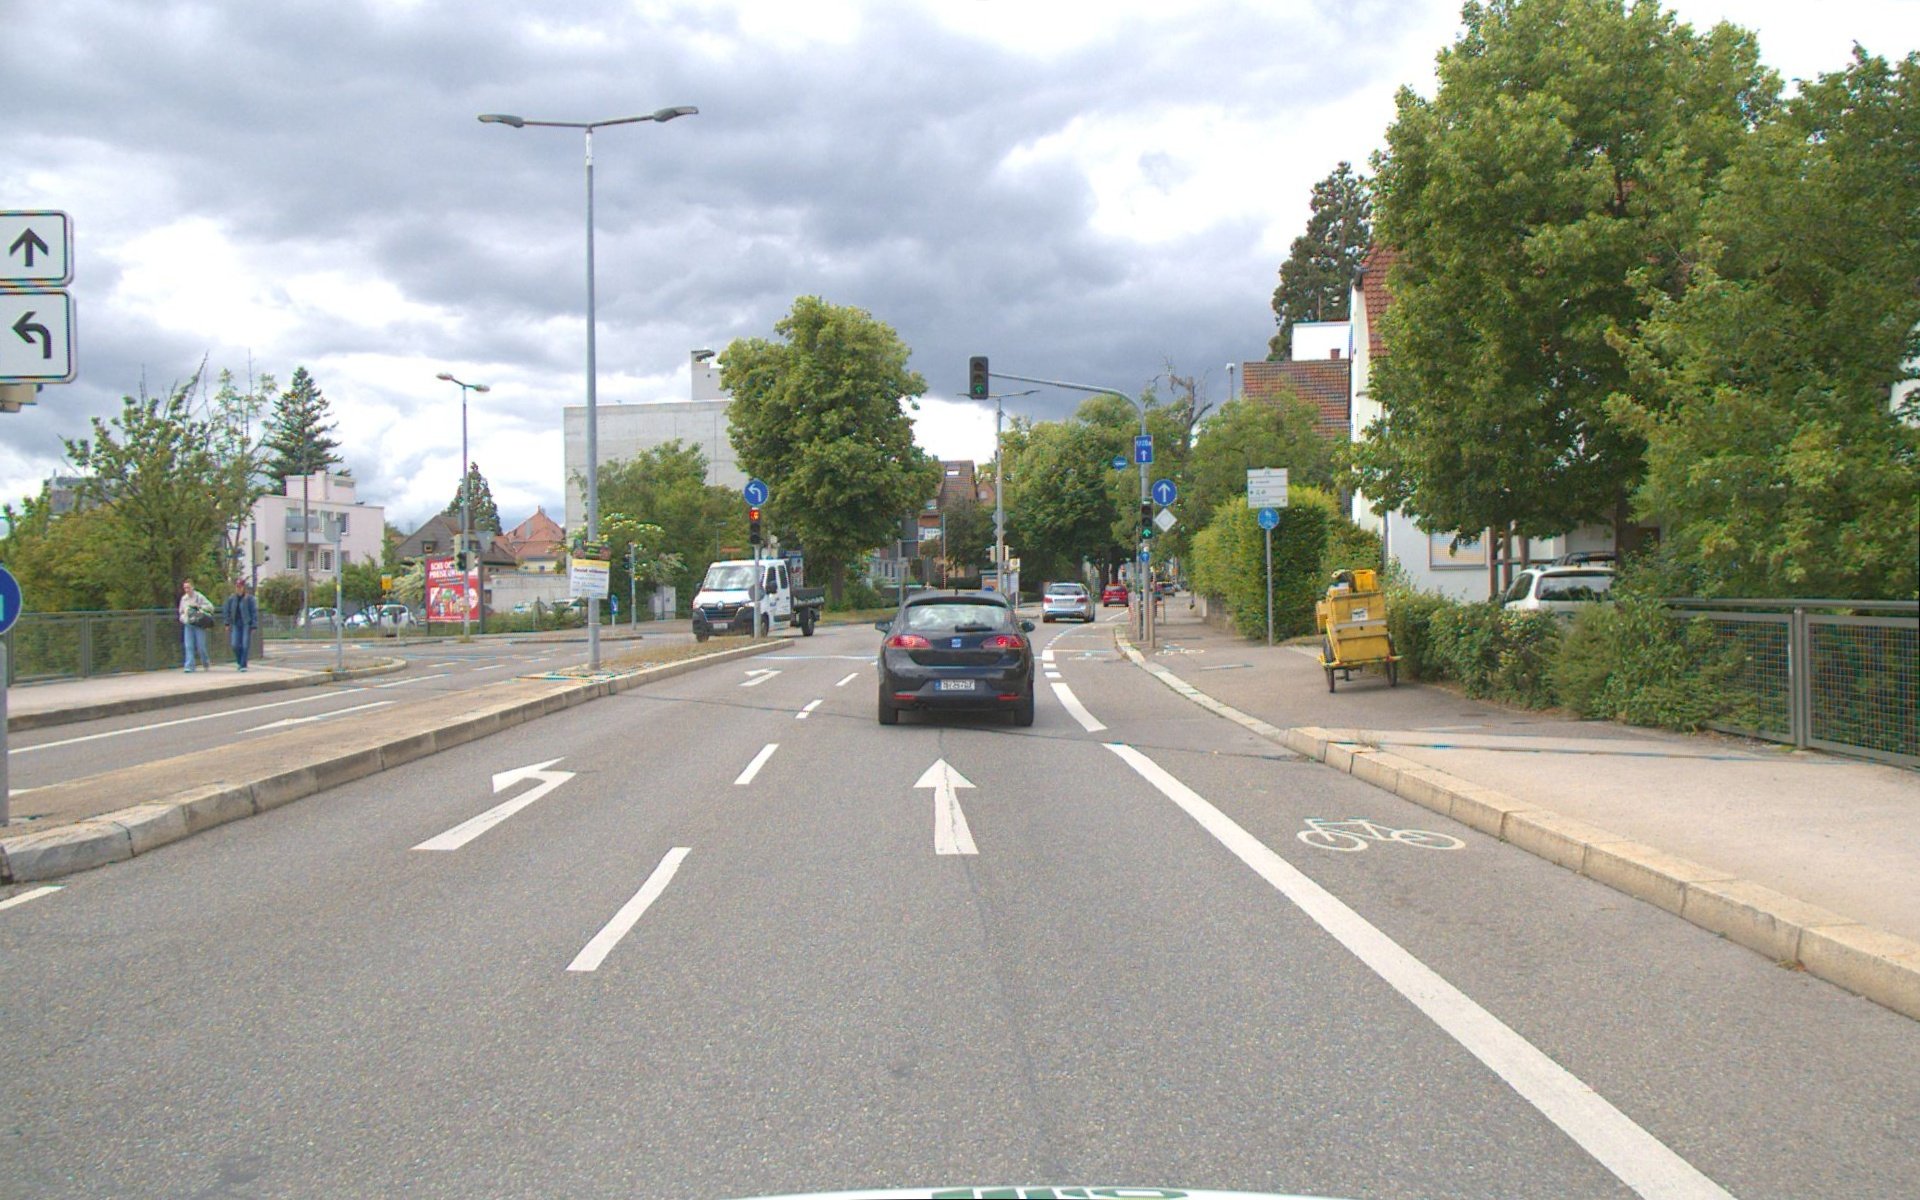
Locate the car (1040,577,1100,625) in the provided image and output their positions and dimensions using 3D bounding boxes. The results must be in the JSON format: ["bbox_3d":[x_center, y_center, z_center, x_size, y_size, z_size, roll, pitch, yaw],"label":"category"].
[{"bbox_3d":[4.277,0.002,63.734,1.780,1.729,4.257,-2,1,10],"label":"car"}]

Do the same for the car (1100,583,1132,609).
[{"bbox_3d":[10.112,-0.273,107.305,1.900,1.507,4.256,-2,1,7],"label":"car"}]

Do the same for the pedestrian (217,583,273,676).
[{"bbox_3d":[-13.006,0.522,30.102,0.643,1.662,1.069,0,0,-7],"label":"pedestrian"}]

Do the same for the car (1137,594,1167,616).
[{"bbox_3d":[16.203,0.393,139.292,1.951,1.713,4.003,-1,0,15],"label":"car"}]

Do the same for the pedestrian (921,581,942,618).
[{"bbox_3d":[-1.163,-0.032,67.407,0.758,1.431,0.600,3,3,-4],"label":"pedestrian"}]

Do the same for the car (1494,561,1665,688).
[{"bbox_3d":[8.480,0.275,22.944,1.634,1.530,4.064,-1,2,12],"label":"car"}]

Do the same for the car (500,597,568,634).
[{"bbox_3d":[-24.636,0.859,95.858,1.952,2.049,4.002,1,0,18],"label":"car"}]

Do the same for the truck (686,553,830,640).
[{"bbox_3d":[-5.759,-0.135,48.306,2.080,2.304,6.812,-2,0,11],"label":"truck"}]

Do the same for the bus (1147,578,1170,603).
[{"bbox_3d":[26.248,-1.316,218.175,2.807,3.191,6.403,-1,1,8],"label":"bus"}]

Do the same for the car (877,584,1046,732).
[{"bbox_3d":[0.092,0.579,18.945,1.723,1.474,3.716,1,1,2],"label":"car"}]

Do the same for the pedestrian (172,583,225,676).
[{"bbox_3d":[-13.792,0.520,29.984,0.643,1.662,0.832,0,0,-7],"label":"pedestrian"}]

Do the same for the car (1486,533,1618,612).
[{"bbox_3d":[12.070,-0.549,33.973,1.632,1.474,4.003,-2,0,6],"label":"car"}]

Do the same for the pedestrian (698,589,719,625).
[{"bbox_3d":[-10.943,0.315,71.911,0.641,1.549,0.924,-1,0,6],"label":"pedestrian"}]

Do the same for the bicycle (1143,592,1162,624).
[{"bbox_3d":[6.461,0.252,55.436,0.614,1.046,1.505,-1,0,7],"label":"bicycle"}]

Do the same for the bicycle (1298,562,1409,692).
[{"bbox_3d":[5.157,0.314,21.876,0.873,1.536,2.785,-5,0,4],"label":"bicycle"}]

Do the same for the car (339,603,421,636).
[{"bbox_3d":[-29.924,1.014,85.451,1.760,1.581,3.998,-1,0,24],"label":"car"}]

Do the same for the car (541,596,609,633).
[{"bbox_3d":[-21.969,0.796,94.565,1.952,2.049,4.002,1,0,18],"label":"car"}]

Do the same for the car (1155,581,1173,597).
[{"bbox_3d":[22.584,-1.212,183.083,1.809,1.624,4.109,-1,0,8],"label":"car"}]
